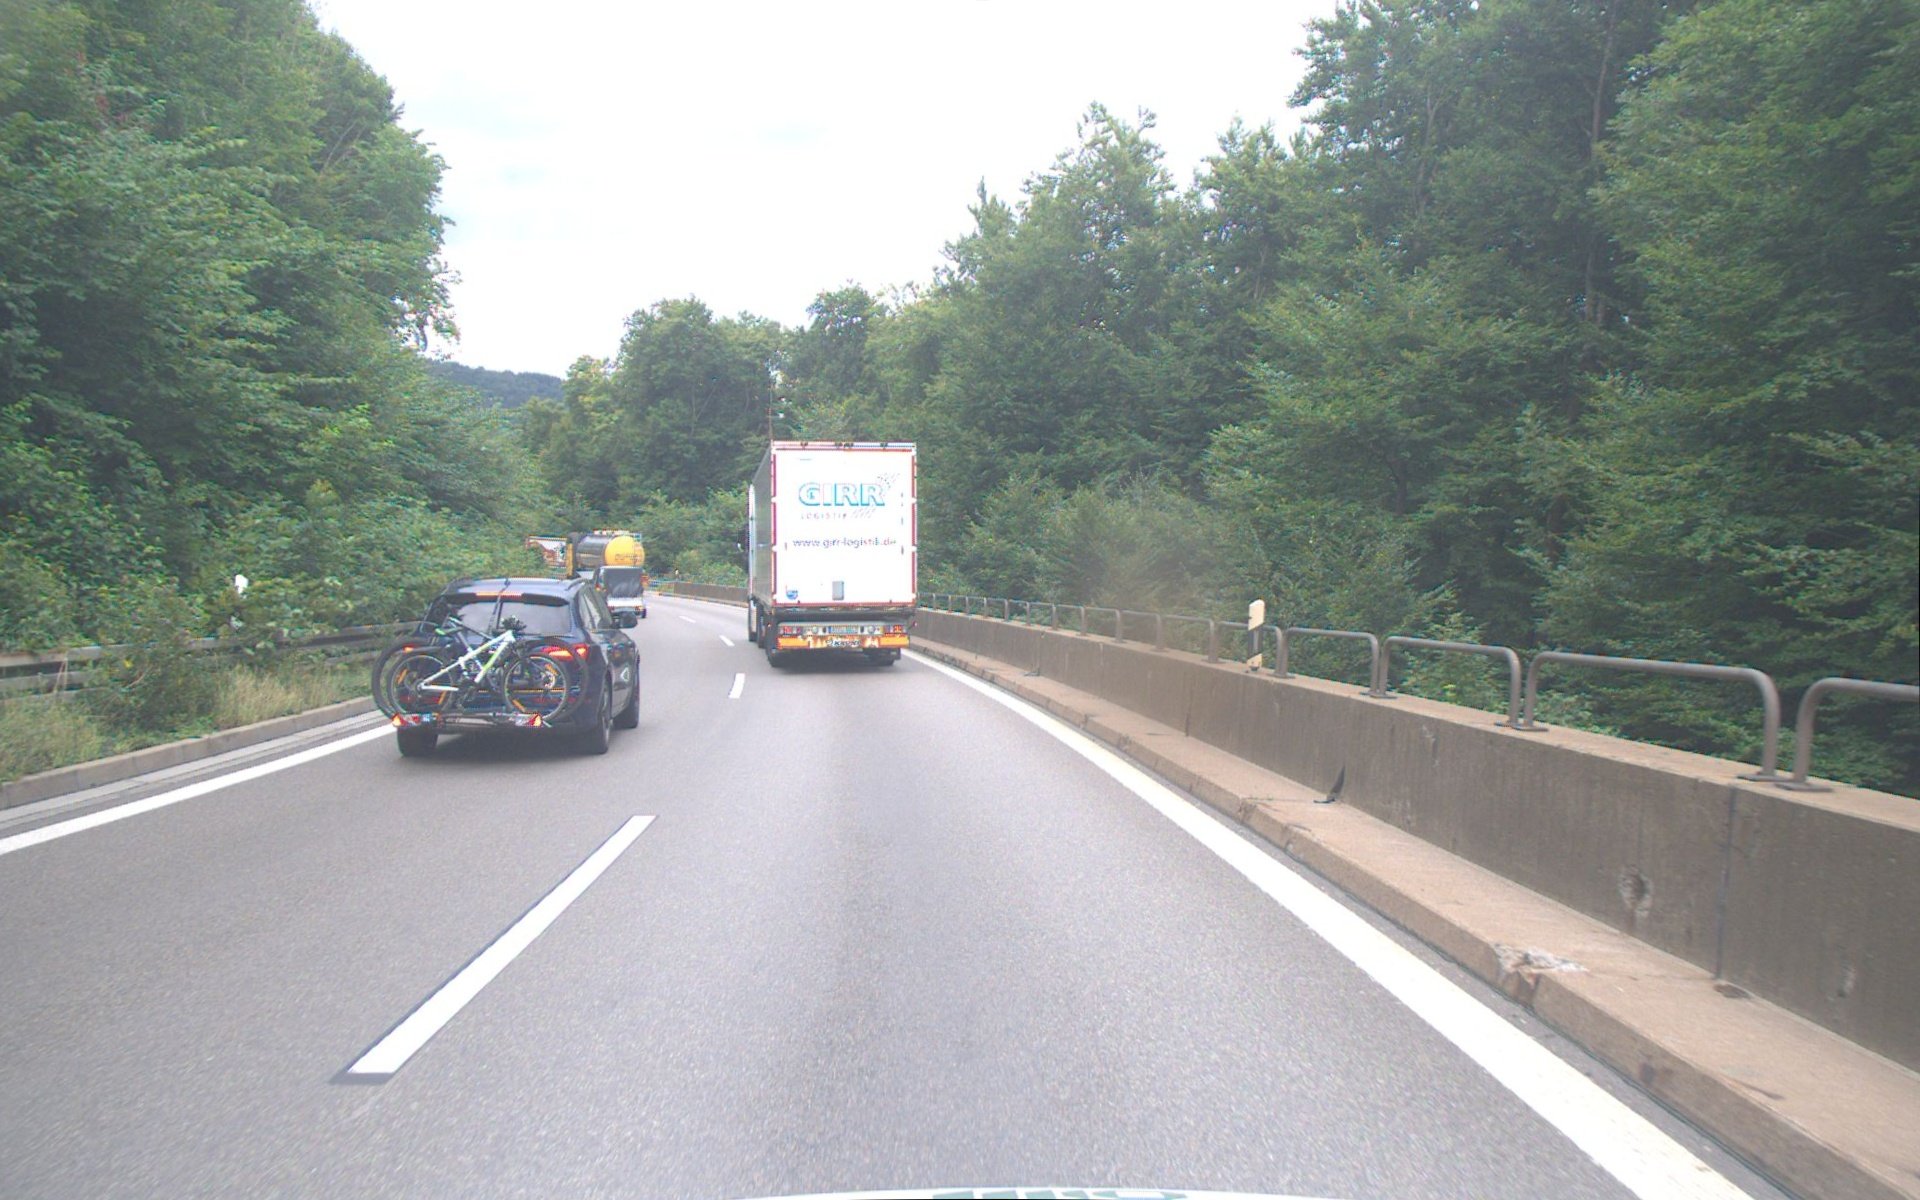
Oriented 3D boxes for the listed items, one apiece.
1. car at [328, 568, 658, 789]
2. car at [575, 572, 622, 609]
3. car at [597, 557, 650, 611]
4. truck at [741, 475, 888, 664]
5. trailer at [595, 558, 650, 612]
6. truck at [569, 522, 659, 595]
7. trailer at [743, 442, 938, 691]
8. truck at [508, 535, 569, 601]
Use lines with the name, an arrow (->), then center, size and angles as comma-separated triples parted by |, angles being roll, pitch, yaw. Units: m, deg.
car -> -4.187, 0.651, 15.847 | 1.933, 1.620, 5.579 | 4, -1, -5
car -> -17.845, -0.476, 81.515 | 1.962, 1.747, 3.981 | 1, 0, -17
car -> -13.666, -0.603, 67.377 | 1.957, 2.049, 5.526 | 2, -1, -10
truck -> -3.710, -0.799, 40.433 | 3.001, 4.054, 7.175 | 3, 2, -8
trailer -> -12.834, -0.545, 63.013 | 1.936, 1.973, 3.421 | 2, -1, -11
truck -> -20.995, -2.343, 99.554 | 3.014, 4.056, 13.608 | 1, 0, -21
trailer -> -2.805, -0.783, 34.136 | 3.000, 4.054, 12.116 | 3, 2, -8
truck -> -36.698, -2.703, 143.669 | 3.774, 5.418, 10.987 | 1, 0, -21
